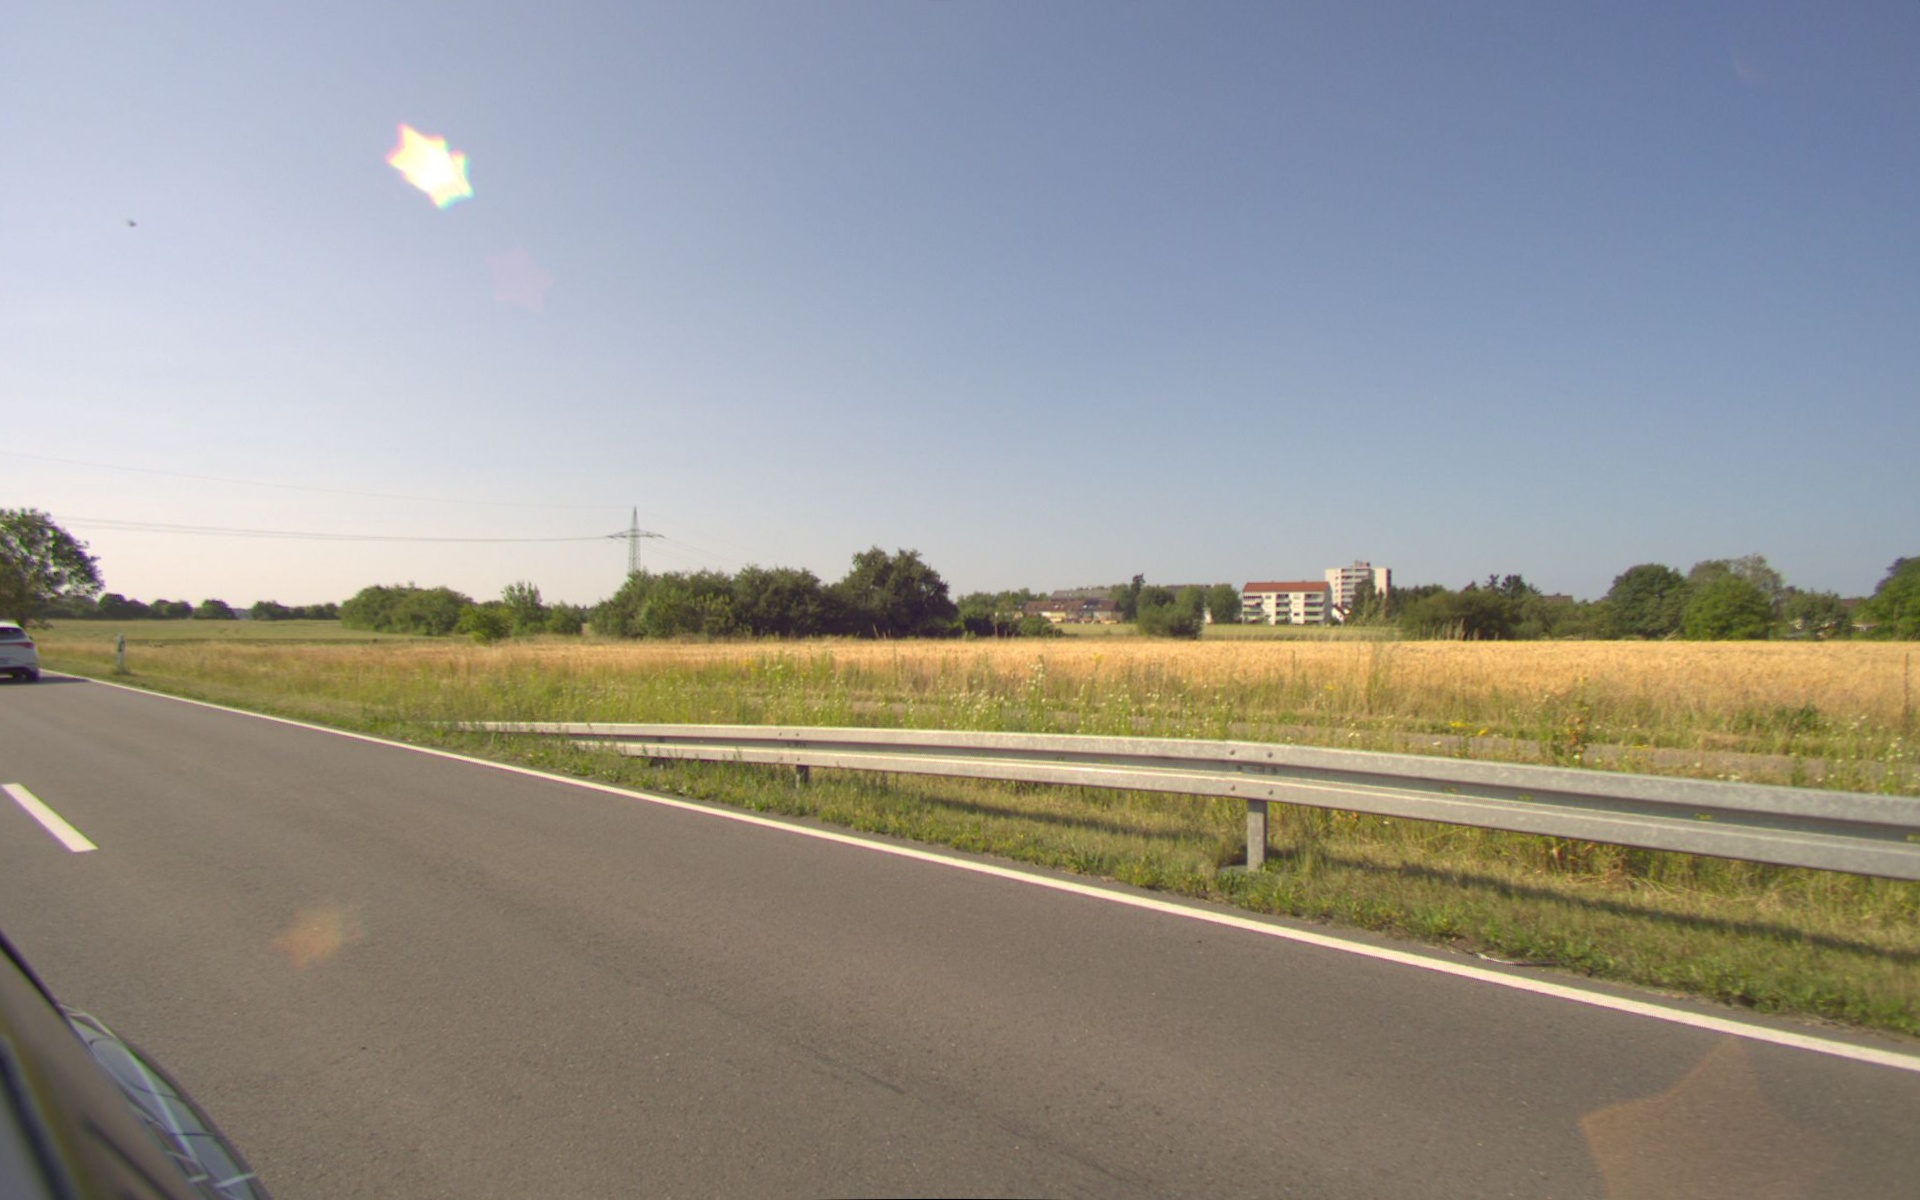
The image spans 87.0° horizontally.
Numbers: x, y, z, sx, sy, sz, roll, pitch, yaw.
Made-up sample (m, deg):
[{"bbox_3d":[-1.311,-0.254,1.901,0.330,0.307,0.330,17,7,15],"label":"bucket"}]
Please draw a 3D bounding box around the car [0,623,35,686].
[{"bbox_3d":[-24.076,1.291,24.696,4.514,1.448,1.709,-1,-1,41],"label":"car"}]
